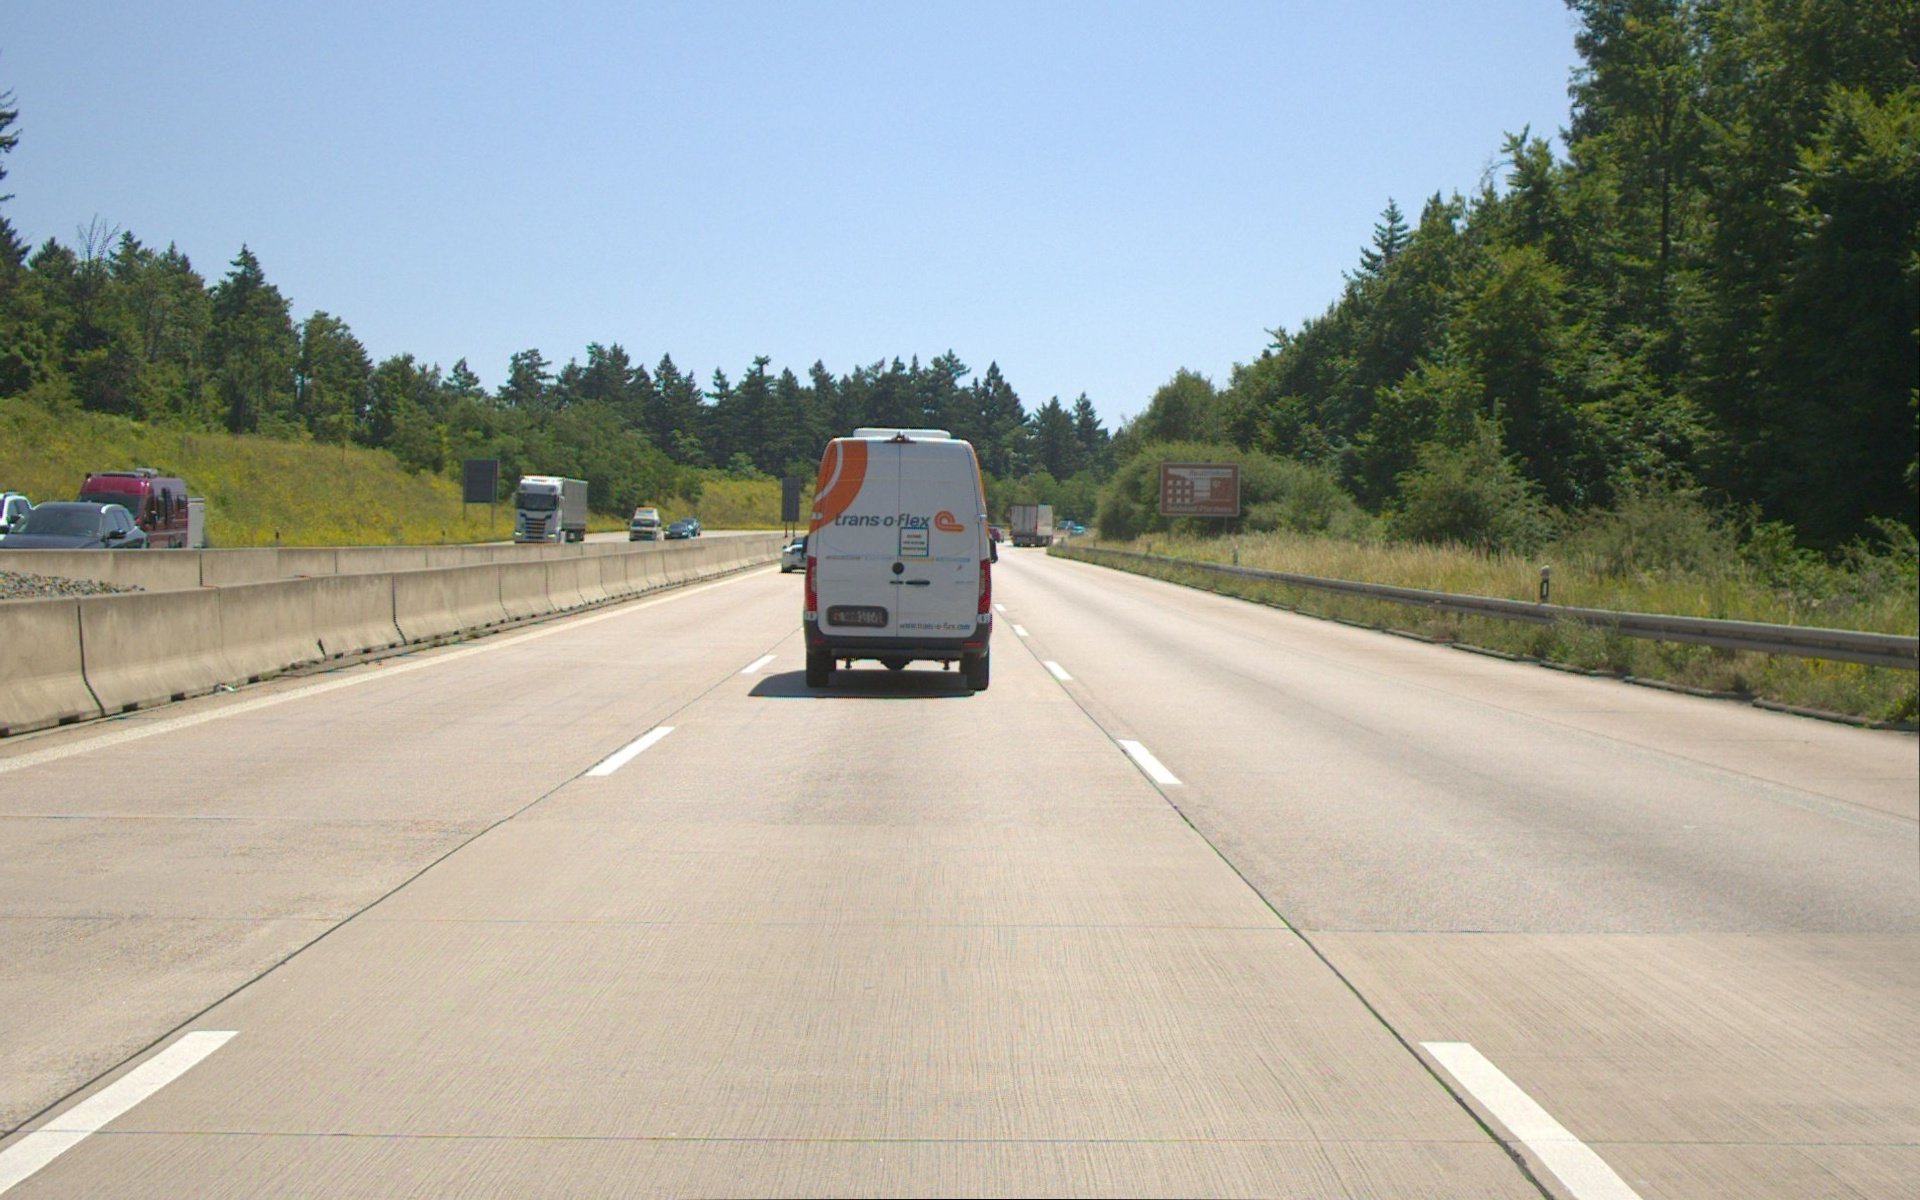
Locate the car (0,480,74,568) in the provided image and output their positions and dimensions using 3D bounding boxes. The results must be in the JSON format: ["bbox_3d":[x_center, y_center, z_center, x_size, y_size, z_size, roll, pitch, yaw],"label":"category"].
[{"bbox_3d":[-18.364,-1.434,64.630,1.993,1.577,5.519,1,1,0],"label":"car"}]

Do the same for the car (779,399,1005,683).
[{"bbox_3d":[-0.735,-0.673,37.741,2.226,2.834,5.455,2,1,-1],"label":"car"}]

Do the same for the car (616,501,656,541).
[{"bbox_3d":[-20.841,-5.096,221.252,1.993,2.477,5.179,2,1,0],"label":"car"}]

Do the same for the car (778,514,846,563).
[{"bbox_3d":[-5.313,-2.206,123.524,1.994,1.678,4.000,1,1,4],"label":"car"}]

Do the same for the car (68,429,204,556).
[{"bbox_3d":[-22.058,-2.853,92.323,1.993,3.230,7.061,1,1,-1],"label":"car"}]

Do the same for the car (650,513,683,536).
[{"bbox_3d":[-21.117,-5.433,247.741,1.993,1.577,4.042,1,1,0],"label":"car"}]

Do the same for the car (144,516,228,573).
[{"bbox_3d":[-22.157,-1.599,98.532,1.614,1.595,3.577,-1,1,0],"label":"car"}]

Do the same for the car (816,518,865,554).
[{"bbox_3d":[-5.871,-3.147,169.732,1.994,1.678,4.000,1,1,4],"label":"car"}]

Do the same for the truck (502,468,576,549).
[{"bbox_3d":[-24.377,-5.268,199.432,3.256,4.489,7.986,1,1,0],"label":"truck"}]
